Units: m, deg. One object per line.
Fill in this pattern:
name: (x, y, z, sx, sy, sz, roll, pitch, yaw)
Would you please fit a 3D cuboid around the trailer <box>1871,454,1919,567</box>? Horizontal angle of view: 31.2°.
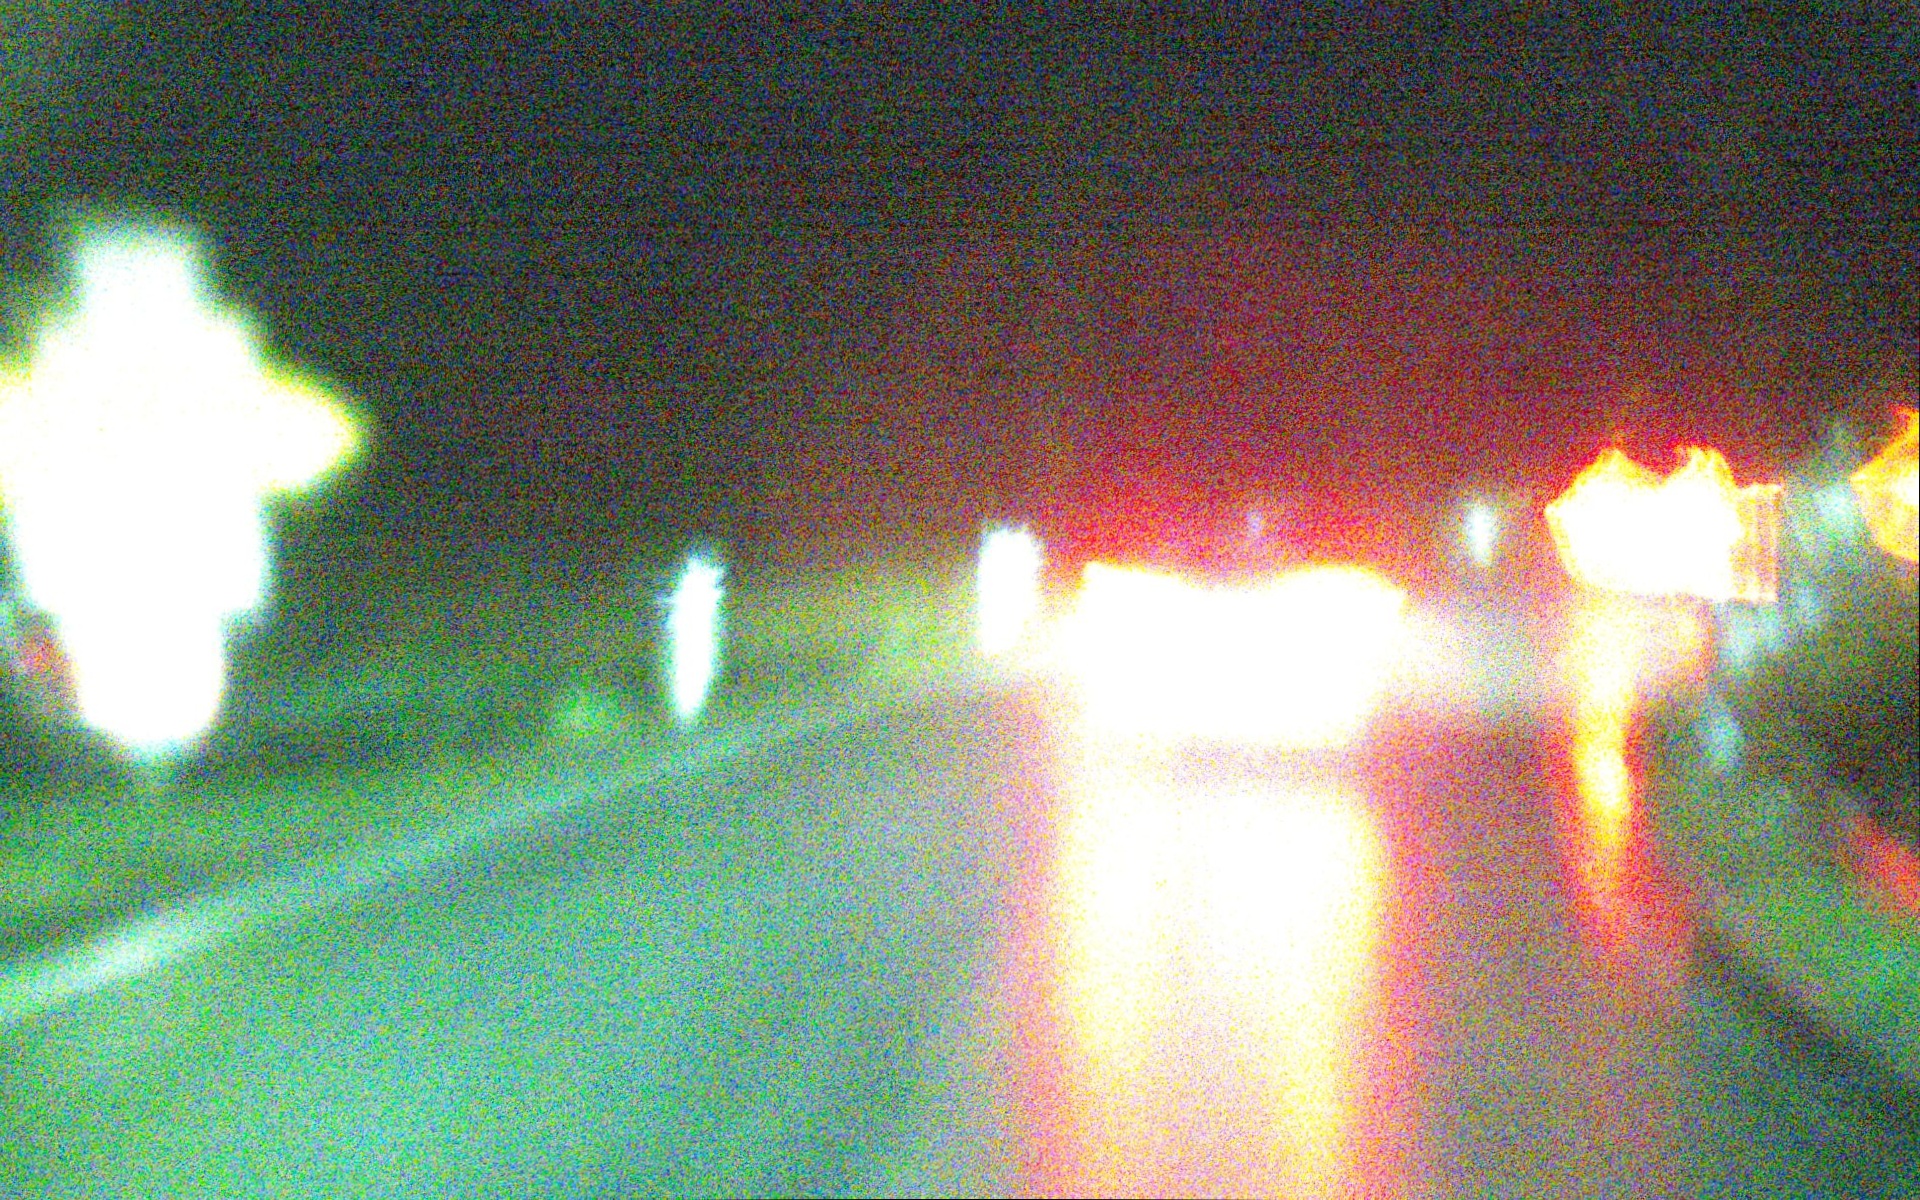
trailer: (19.533, -1.697, 66.762, 2.080, 2.007, 10.635, -2, 0, 23)
